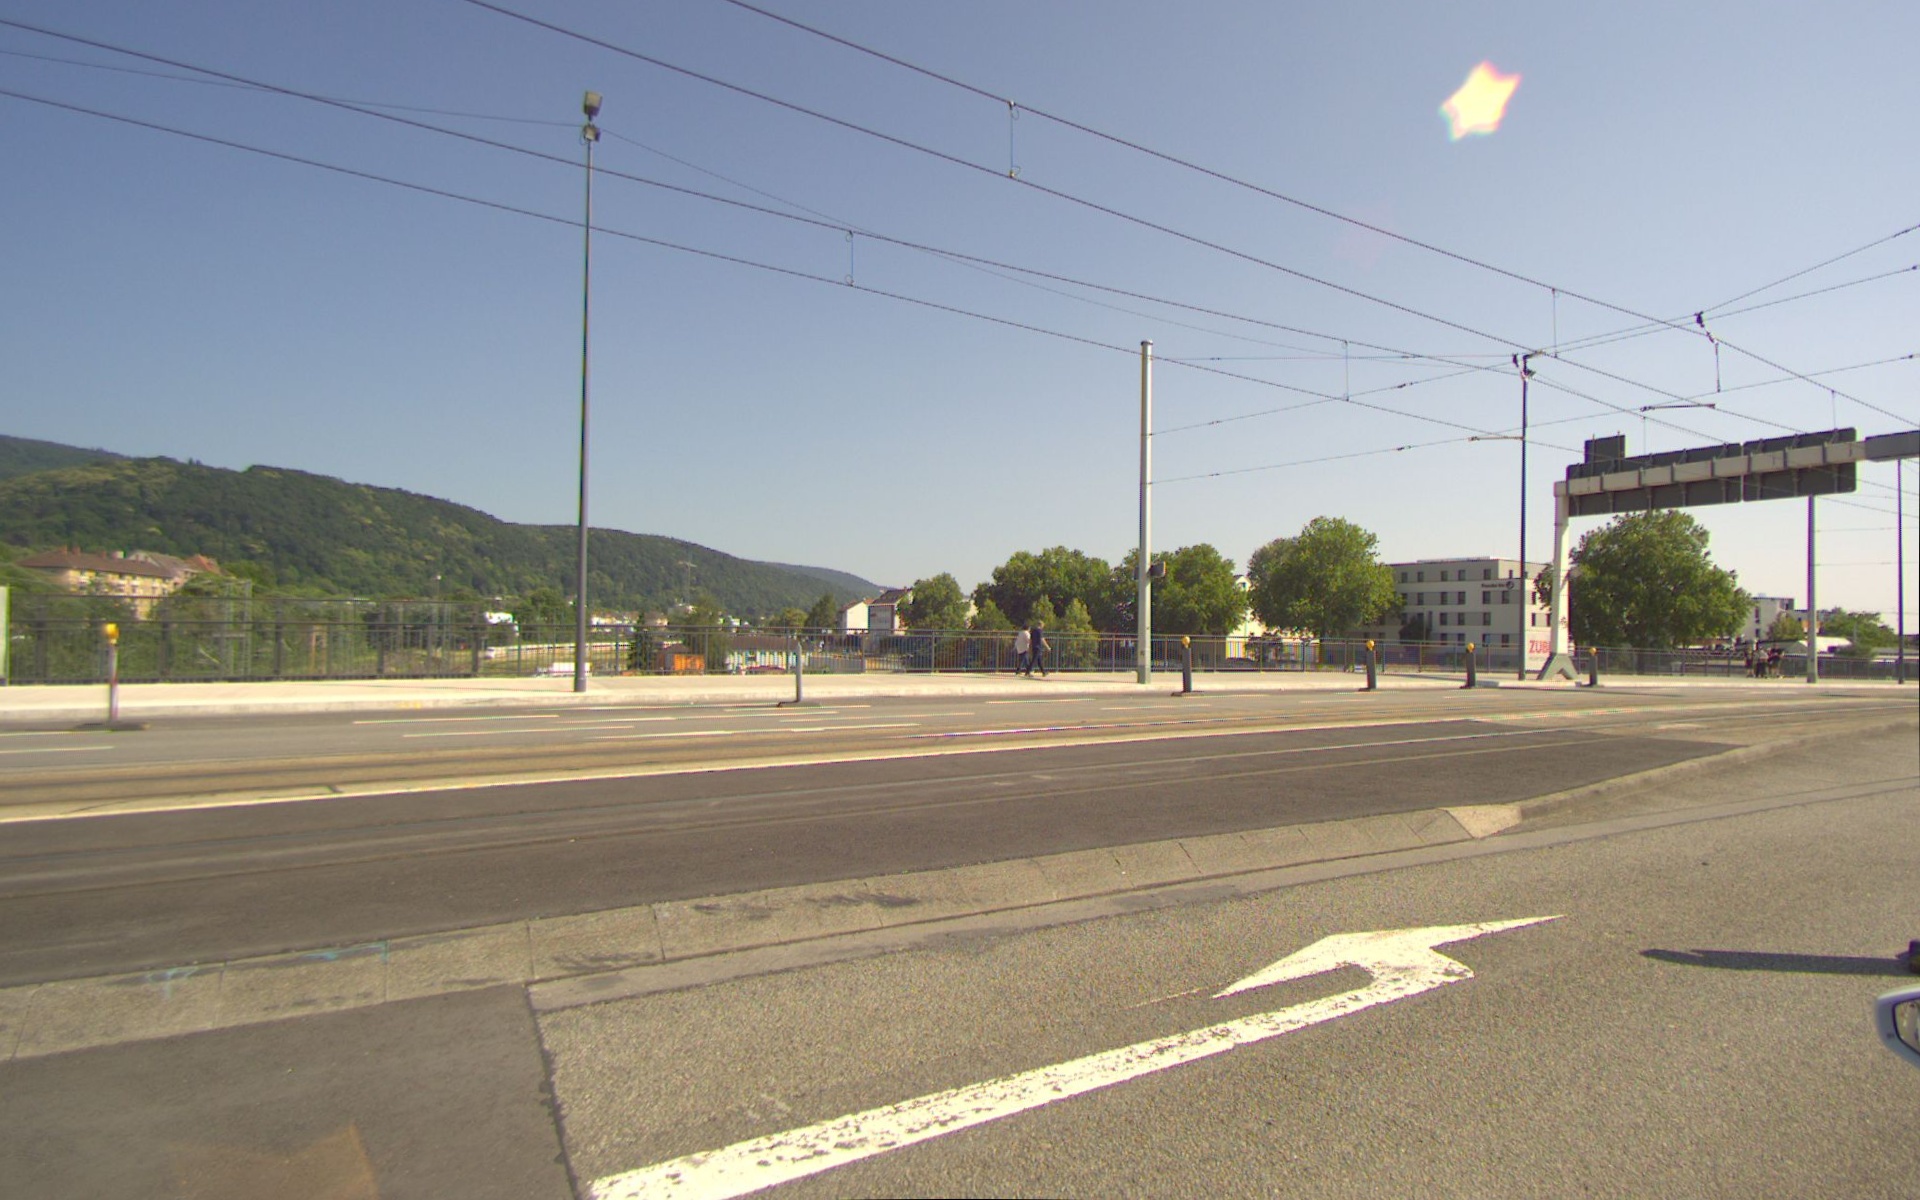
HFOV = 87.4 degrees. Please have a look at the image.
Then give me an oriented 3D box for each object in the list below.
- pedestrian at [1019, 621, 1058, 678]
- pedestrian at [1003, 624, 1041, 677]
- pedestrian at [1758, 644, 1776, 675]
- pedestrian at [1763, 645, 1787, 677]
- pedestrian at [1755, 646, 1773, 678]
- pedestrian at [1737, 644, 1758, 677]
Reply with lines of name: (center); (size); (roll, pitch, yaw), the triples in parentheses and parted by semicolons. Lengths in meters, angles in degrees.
pedestrian: (2.371, 1.485, 30.372); (0.884, 1.663, 0.740); (1, 1, -30)
pedestrian: (1.925, 1.556, 31.105); (0.878, 1.565, 0.716); (1, 1, -30)
pedestrian: (44.502, 3.285, 55.372); (0.763, 1.709, 0.502); (2, -2, -27)
pedestrian: (43.991, 3.305, 54.214); (0.722, 1.709, 0.750); (2, -2, -27)
pedestrian: (42.721, 3.282, 53.370); (0.797, 1.709, 0.484); (2, -2, -27)
pedestrian: (42.061, 3.225, 53.678); (0.807, 1.709, 0.595); (2, -2, -27)
